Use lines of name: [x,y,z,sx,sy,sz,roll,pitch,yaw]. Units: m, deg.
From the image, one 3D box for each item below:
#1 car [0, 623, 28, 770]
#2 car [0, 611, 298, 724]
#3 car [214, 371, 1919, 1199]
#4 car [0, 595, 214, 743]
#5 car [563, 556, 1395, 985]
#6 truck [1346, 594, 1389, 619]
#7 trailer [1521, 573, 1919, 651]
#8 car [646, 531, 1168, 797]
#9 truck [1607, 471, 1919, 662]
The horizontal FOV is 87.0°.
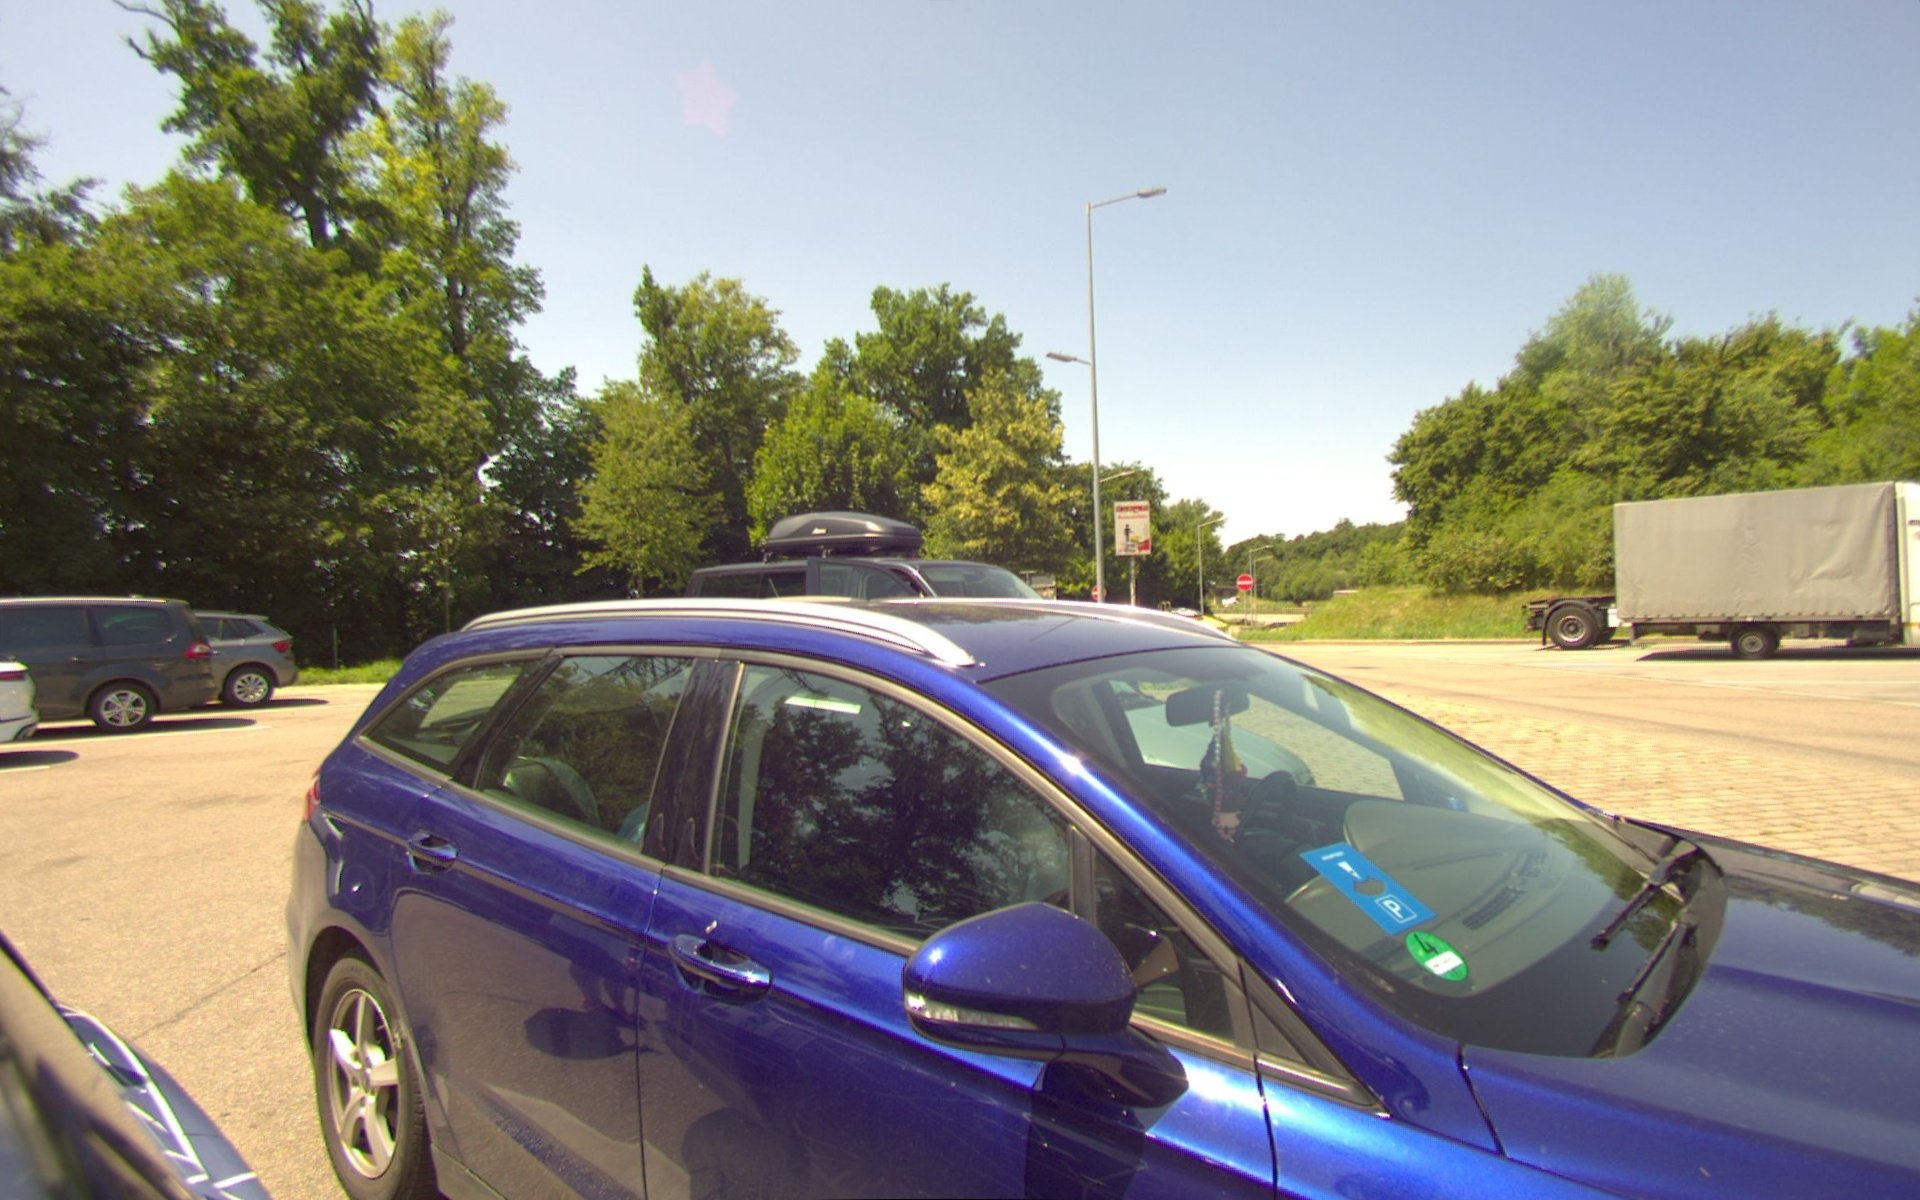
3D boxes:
car: [-10.993,0.931,9.150,3.767,1.396,1.722,0,-1,-43]
car: [-12.590,0.955,15.694,3.762,1.551,1.724,0,-1,-38]
car: [0.250,0.634,2.064,4.637,1.493,1.720,-2,-1,39]
car: [-11.652,0.821,12.614,3.762,1.737,1.724,0,-1,-38]
car: [-0.212,0.672,5.776,4.637,1.545,1.720,-2,0,39]
truck: [51.333,0.826,127.630,2.427,2.980,5.849,-1,0,-8]
trailer: [17.639,0.313,23.145,8.088,1.385,2.200,-4,-1,41]
car: [-0.656,0.510,9.350,4.635,1.884,1.937,-2,0,37]
truck: [16.711,-0.600,18.923,7.337,3.235,2.502,-4,-1,41]
